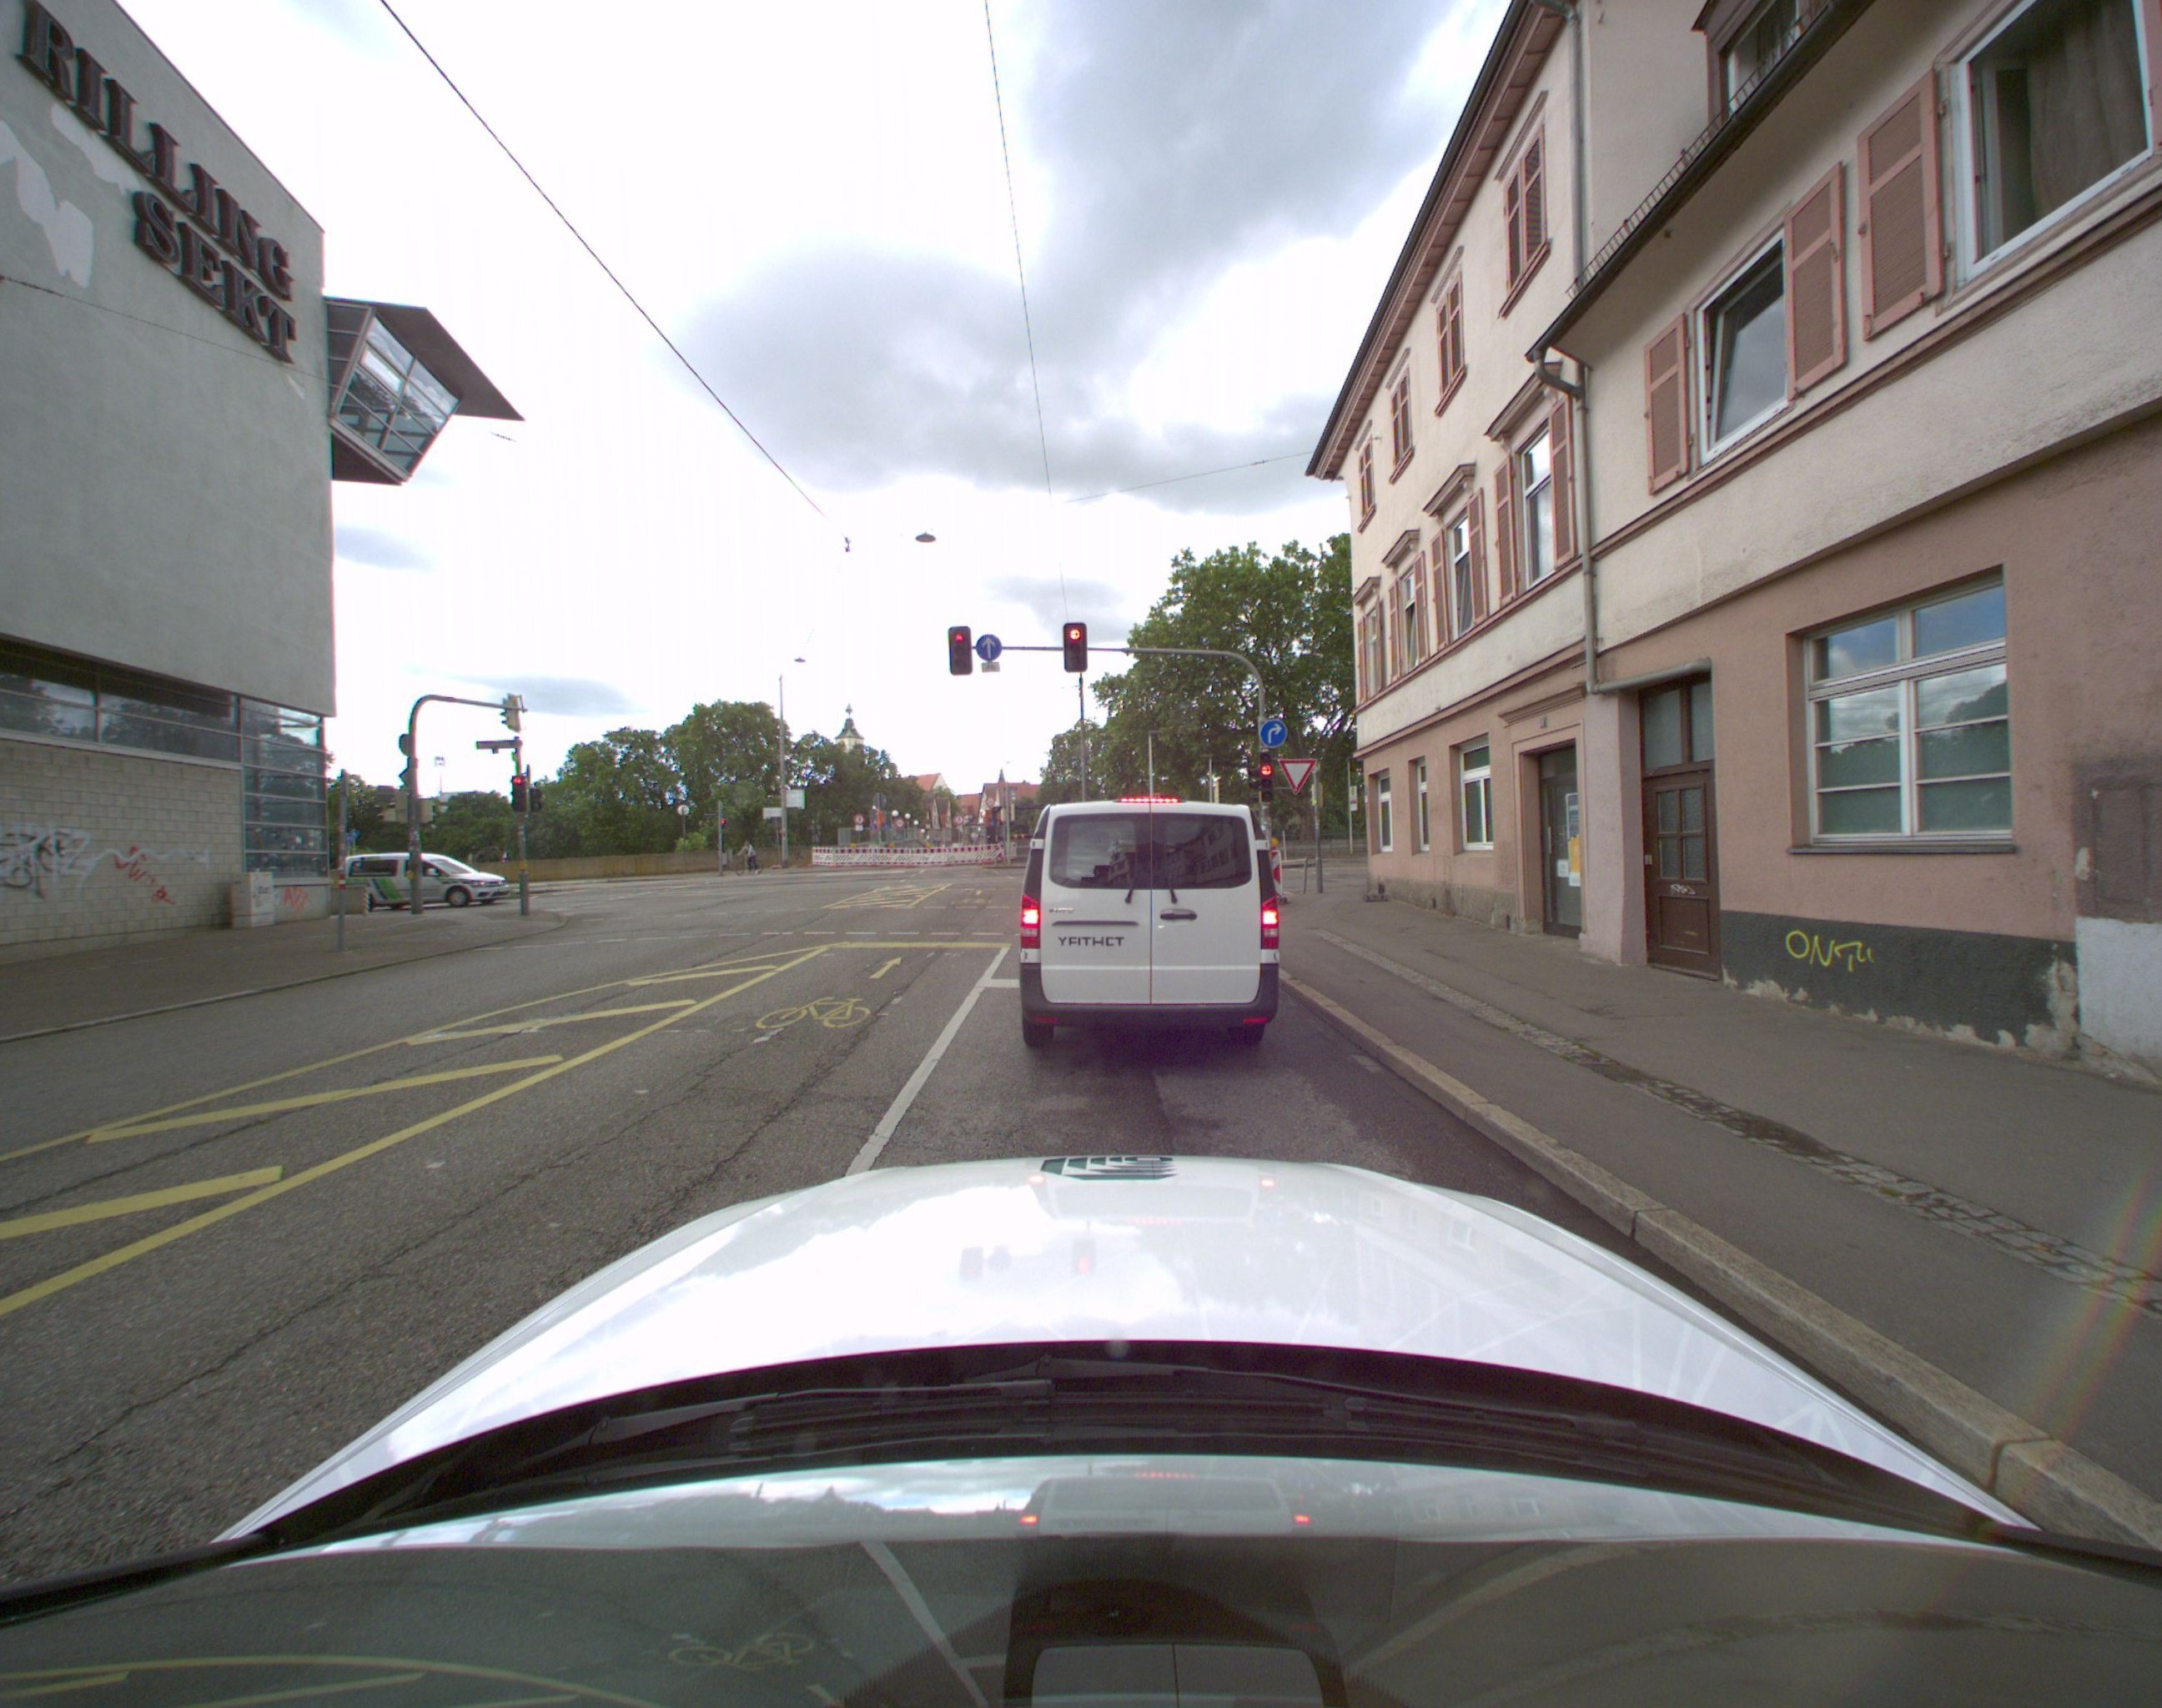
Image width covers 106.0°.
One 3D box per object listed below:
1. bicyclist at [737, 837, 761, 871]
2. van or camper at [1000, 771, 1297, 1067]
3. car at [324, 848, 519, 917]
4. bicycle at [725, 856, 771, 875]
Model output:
[{"bbox_3d":[-17.818,-0.008,43.722,1.010,1.743,0.746,-2,2,-40],"label":"bicyclist"},{"bbox_3d":[0.431,0.370,7.517,1.932,1.924,4.440,0,1,-1],"label":"van or camper"},{"bbox_3d":[-21.188,0.871,26.354,4.346,1.802,1.994,-3,3,-10],"label":"car"},{"bbox_3d":[-17.846,0.593,43.705,2.149,0.892,0.751,-3,2,-40],"label":"bicycle"}]
